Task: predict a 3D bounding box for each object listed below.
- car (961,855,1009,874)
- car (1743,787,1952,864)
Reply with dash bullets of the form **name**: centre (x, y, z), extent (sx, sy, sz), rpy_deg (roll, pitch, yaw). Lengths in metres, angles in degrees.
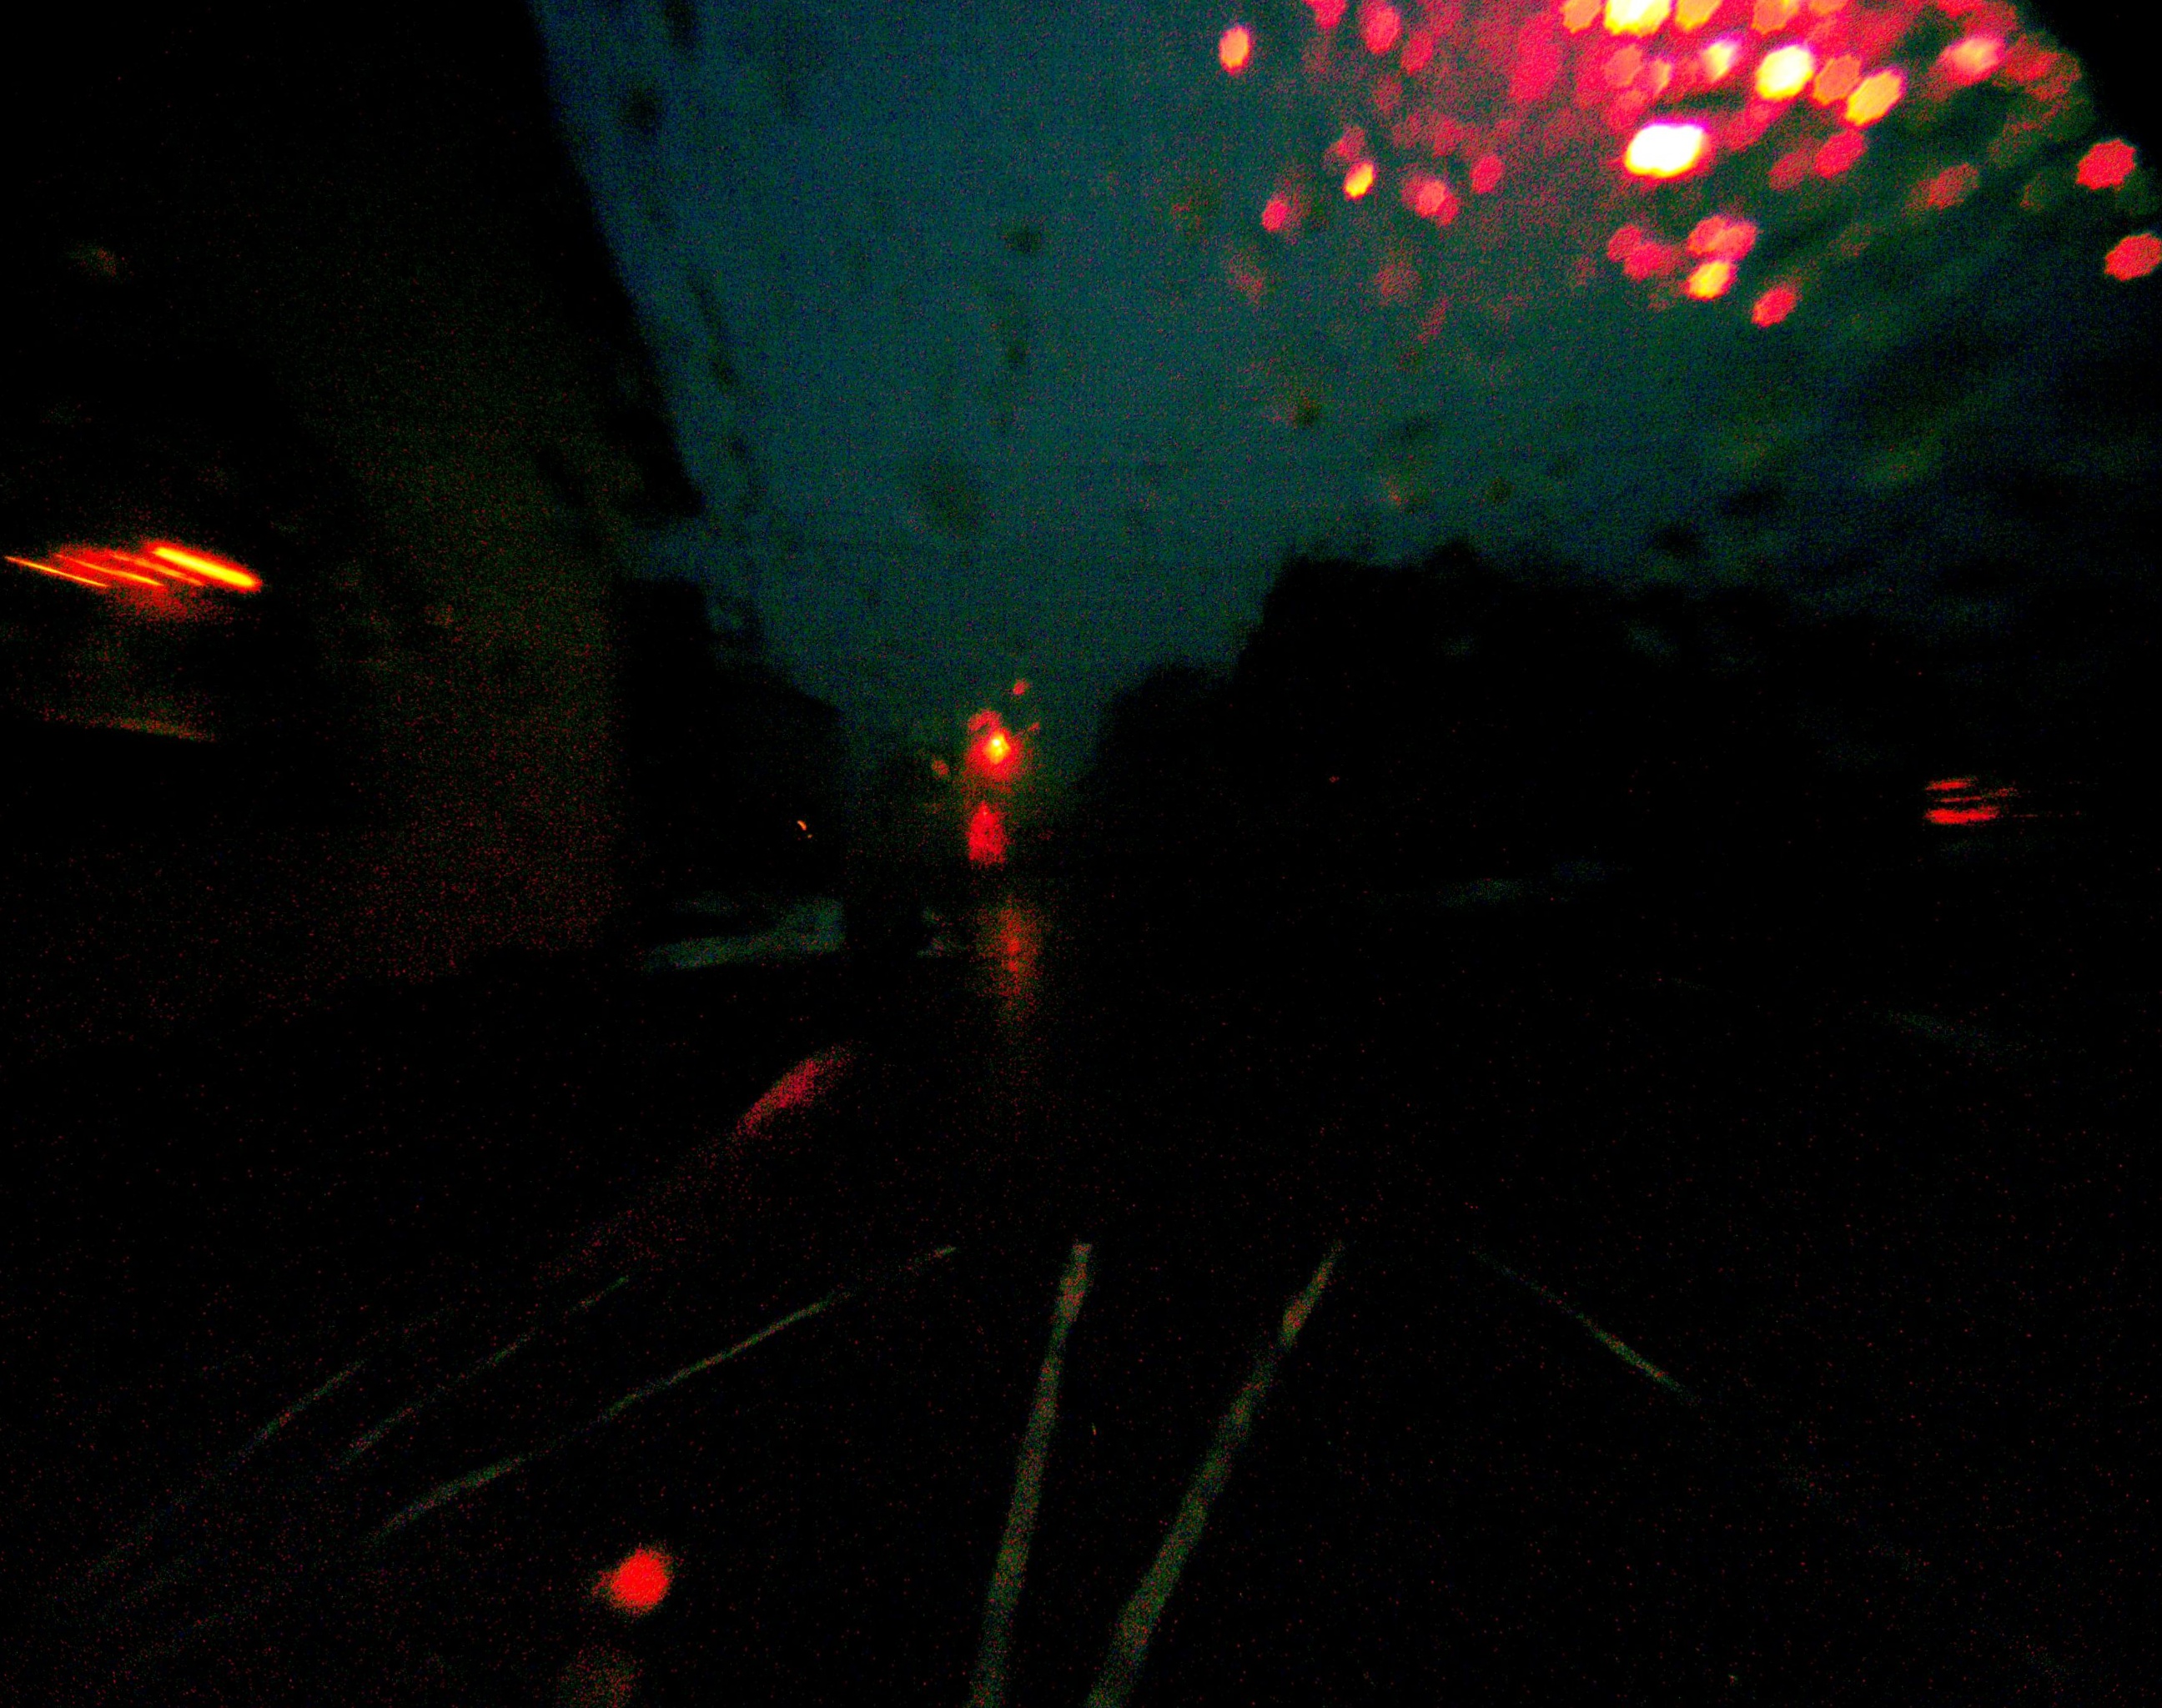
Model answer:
- **car**: centre (-8.413, 0.902, 66.657), extent (3.793, 1.365, 1.622), rpy_deg (-4, 2, -32)
- **car**: centre (18.339, -0.683, 18.217), extent (4.003, 1.521, 1.996), rpy_deg (-4, 2, -20)
